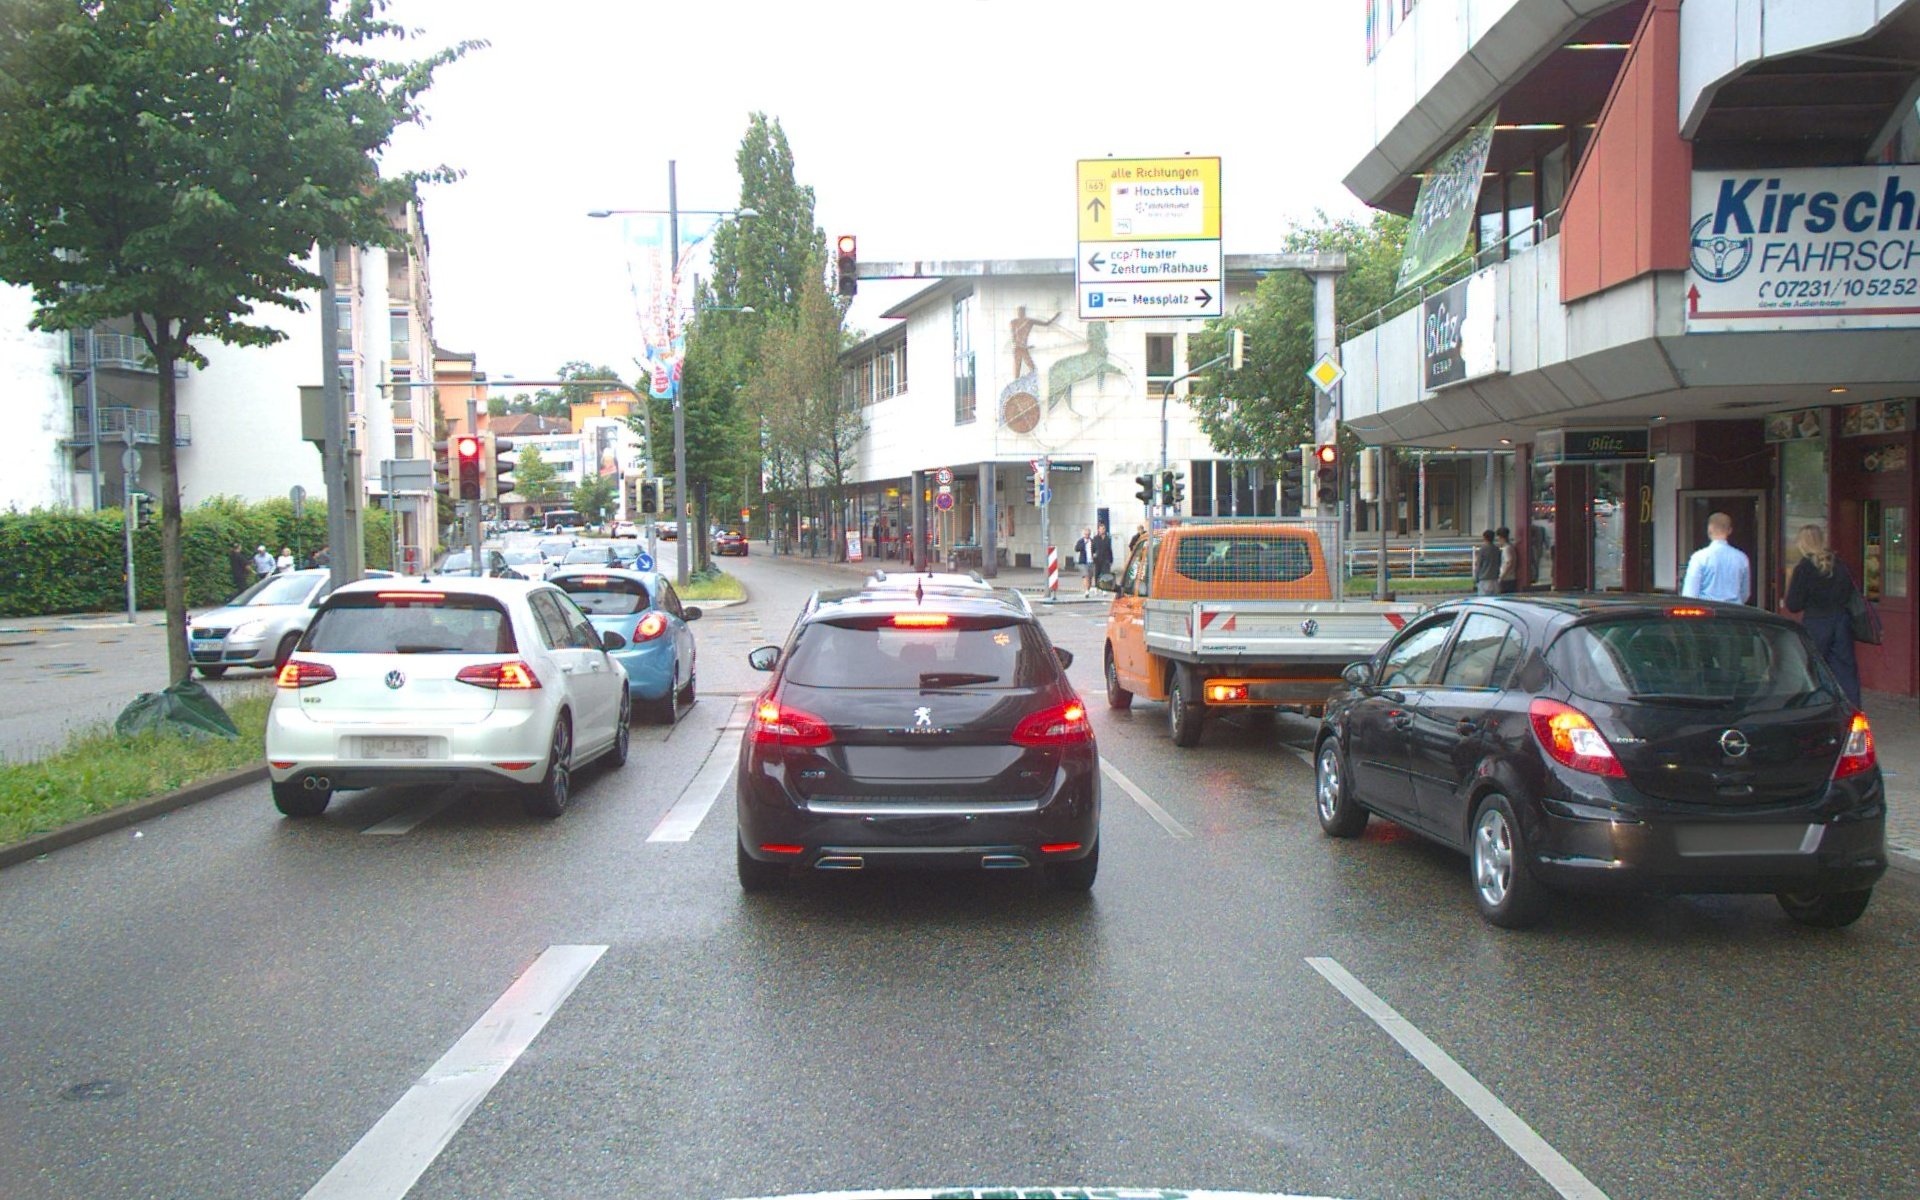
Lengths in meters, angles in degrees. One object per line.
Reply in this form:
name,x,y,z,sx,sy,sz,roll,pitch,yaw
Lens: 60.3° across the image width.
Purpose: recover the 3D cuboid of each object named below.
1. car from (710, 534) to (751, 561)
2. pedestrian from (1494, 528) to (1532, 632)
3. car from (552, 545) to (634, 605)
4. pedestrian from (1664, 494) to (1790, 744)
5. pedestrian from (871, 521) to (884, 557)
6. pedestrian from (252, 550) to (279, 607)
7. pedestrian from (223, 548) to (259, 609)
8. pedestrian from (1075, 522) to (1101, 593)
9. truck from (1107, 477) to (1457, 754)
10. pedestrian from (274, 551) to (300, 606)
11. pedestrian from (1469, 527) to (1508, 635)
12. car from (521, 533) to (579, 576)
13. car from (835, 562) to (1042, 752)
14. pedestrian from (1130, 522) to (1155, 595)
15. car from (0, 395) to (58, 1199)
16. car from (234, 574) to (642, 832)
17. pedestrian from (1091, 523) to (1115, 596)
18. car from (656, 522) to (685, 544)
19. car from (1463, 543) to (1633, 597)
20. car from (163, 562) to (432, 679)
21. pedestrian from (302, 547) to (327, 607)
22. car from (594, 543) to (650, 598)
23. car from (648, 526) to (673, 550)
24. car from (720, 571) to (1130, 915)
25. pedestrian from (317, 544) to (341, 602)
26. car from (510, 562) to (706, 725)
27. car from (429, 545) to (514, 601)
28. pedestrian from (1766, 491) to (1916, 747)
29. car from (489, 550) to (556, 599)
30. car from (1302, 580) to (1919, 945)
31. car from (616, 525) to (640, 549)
car,-13.791,-3.174,99.188,1.759,1.479,4.486,-3,3,-17
pedestrian,8.950,-0.316,26.784,0.388,1.668,0.504,-1,-1,0
car,-10.540,-0.678,47.762,1.710,1.607,3.996,1,-1,-4
pedestrian,6.212,0.156,13.423,0.721,1.968,0.640,1,-1,-1
pedestrian,-4.135,-3.052,82.677,0.461,1.778,0.537,1,-1,-21
pedestrian,-20.293,-0.629,48.339,0.569,1.627,0.526,1,-1,-7
pedestrian,-19.988,-0.589,45.992,0.624,1.671,0.734,1,-1,2
pedestrian,3.295,-1.088,42.453,0.623,1.788,0.734,1,-1,6
truck,2.833,0.061,15.881,2.133,2.210,5.018,1,1,-3
pedestrian,-20.102,-0.641,49.424,0.569,1.627,0.526,1,-1,-7
pedestrian,8.414,-0.298,26.358,0.417,1.712,0.450,-1,-1,-2
car,-15.031,-1.663,60.714,1.602,1.512,3.605,1,2,-7
car,-0.204,0.421,15.298,1.662,1.512,3.793,1,1,-1
pedestrian,4.890,-1.109,44.356,0.623,1.930,0.734,1,-1,6
car,-3.045,0.445,1.408,1.873,1.903,5.071,1,-1,-2
car,-3.343,0.561,11.367,1.742,1.454,3.840,1,1,-3
pedestrian,3.861,-1.084,44.528,0.623,1.930,0.734,1,-1,6
car,-23.630,-5.463,135.023,1.698,1.516,4.708,1,-1,-18
car,14.515,-0.737,40.977,3.610,1.233,1.836,1,-1,3
car,-9.578,0.277,24.236,1.598,1.494,3.755,-4,-1,17
pedestrian,-19.394,-0.692,49.722,0.529,1.778,0.746,1,-1,-9
car,-11.138,-0.949,54.620,1.713,1.669,3.989,1,-1,-11
car,-26.649,-5.497,146.880,1.679,1.970,3.980,1,-1,-18
car,-0.159,0.581,9.008,1.741,1.454,3.842,1,1,0
pedestrian,-19.577,-0.828,51.325,0.528,1.778,0.564,1,-1,-6
car,-3.603,0.376,17.437,1.601,1.512,3.606,1,1,-6
car,-13.787,-0.782,46.839,1.543,1.512,3.607,1,1,-4
pedestrian,7.109,0.150,13.377,0.721,1.968,0.640,-4,-1,-1
car,-14.167,-0.843,53.711,1.602,1.512,3.605,1,2,-7
car,3.096,0.646,8.674,1.584,1.454,3.839,1,1,-4
car,-29.230,-5.518,145.622,1.679,1.915,3.980,1,-1,-18
